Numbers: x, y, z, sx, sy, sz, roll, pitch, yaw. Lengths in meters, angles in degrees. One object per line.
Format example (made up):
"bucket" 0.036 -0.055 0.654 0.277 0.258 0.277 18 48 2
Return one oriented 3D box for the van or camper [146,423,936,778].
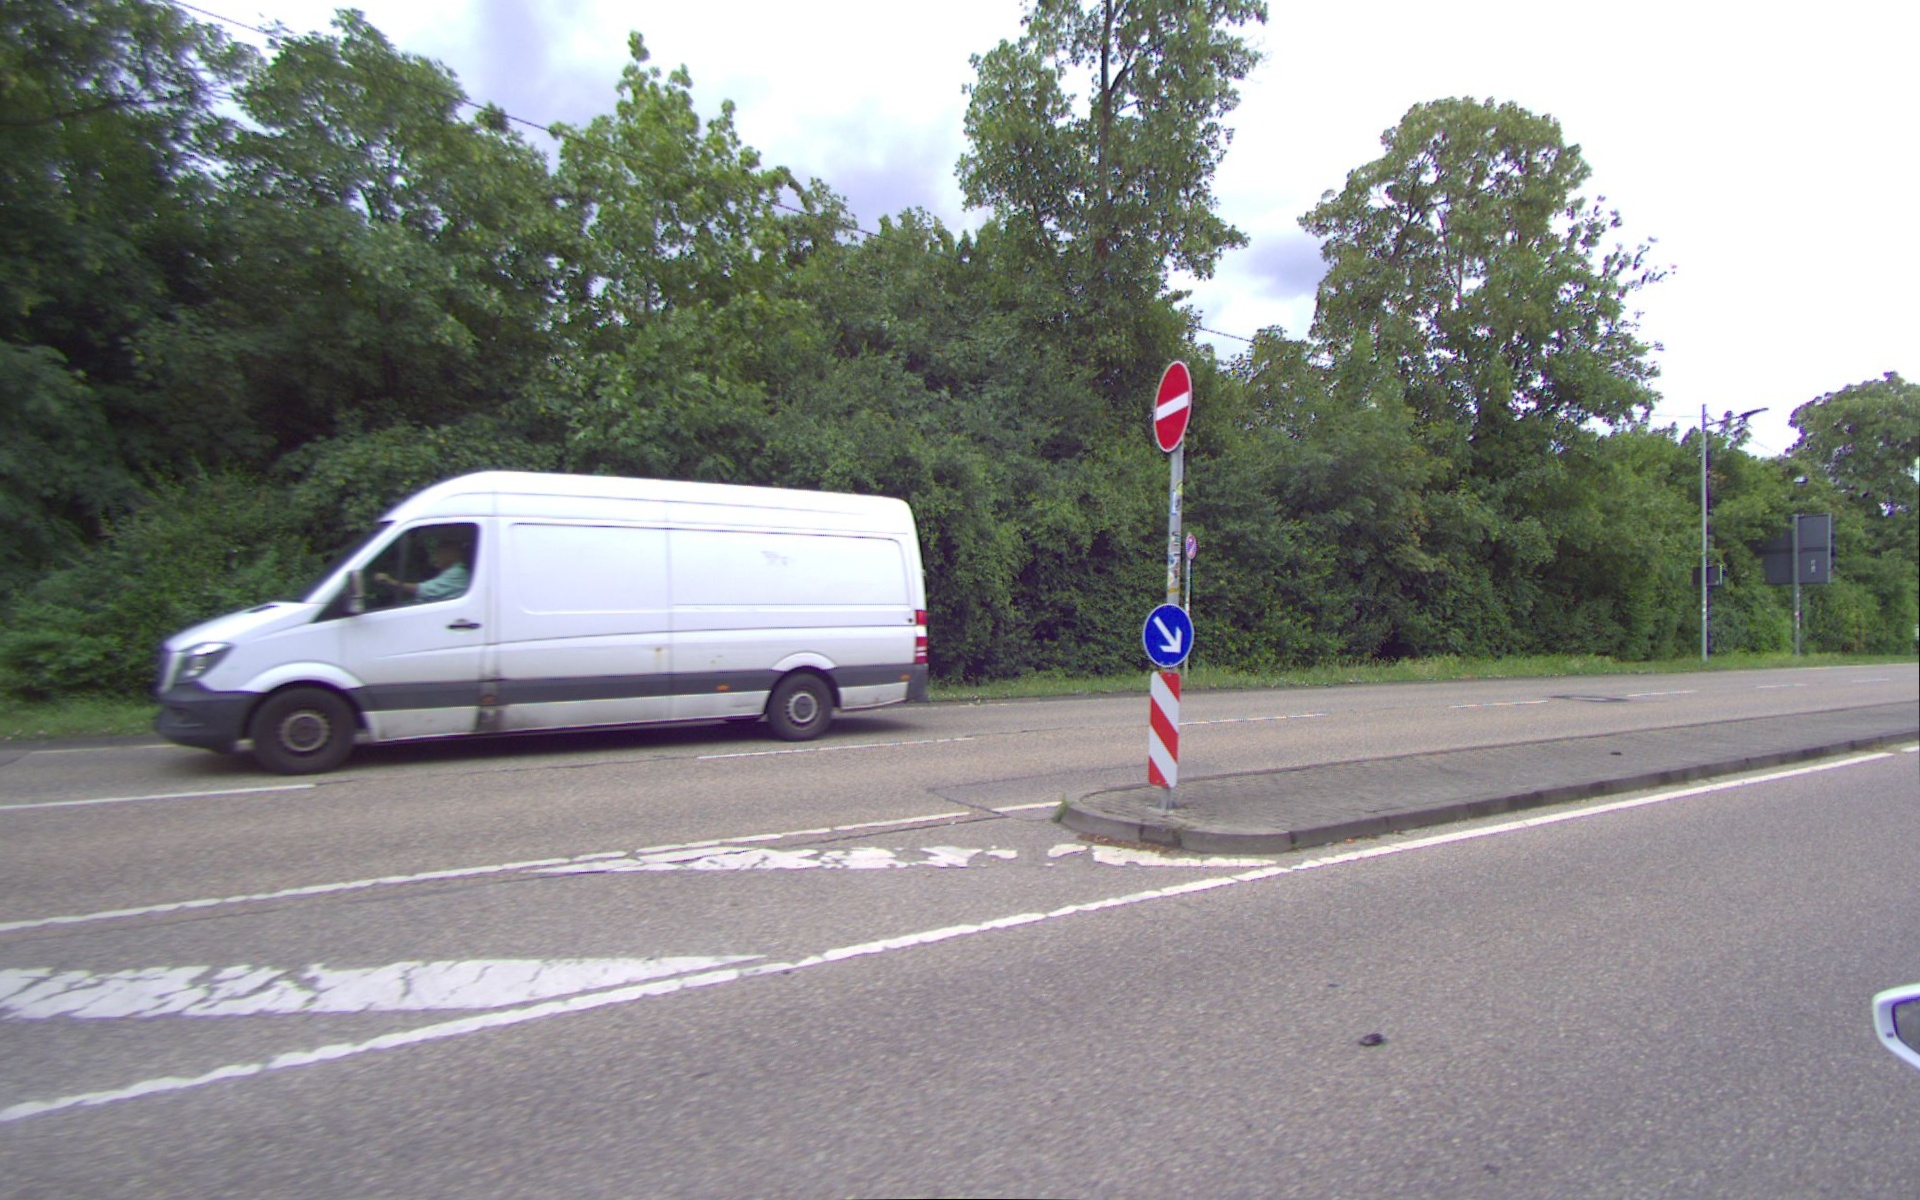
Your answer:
"van or camper" -3.706 0.045 10.161 6.786 2.589 2.269 1 -1 -33
